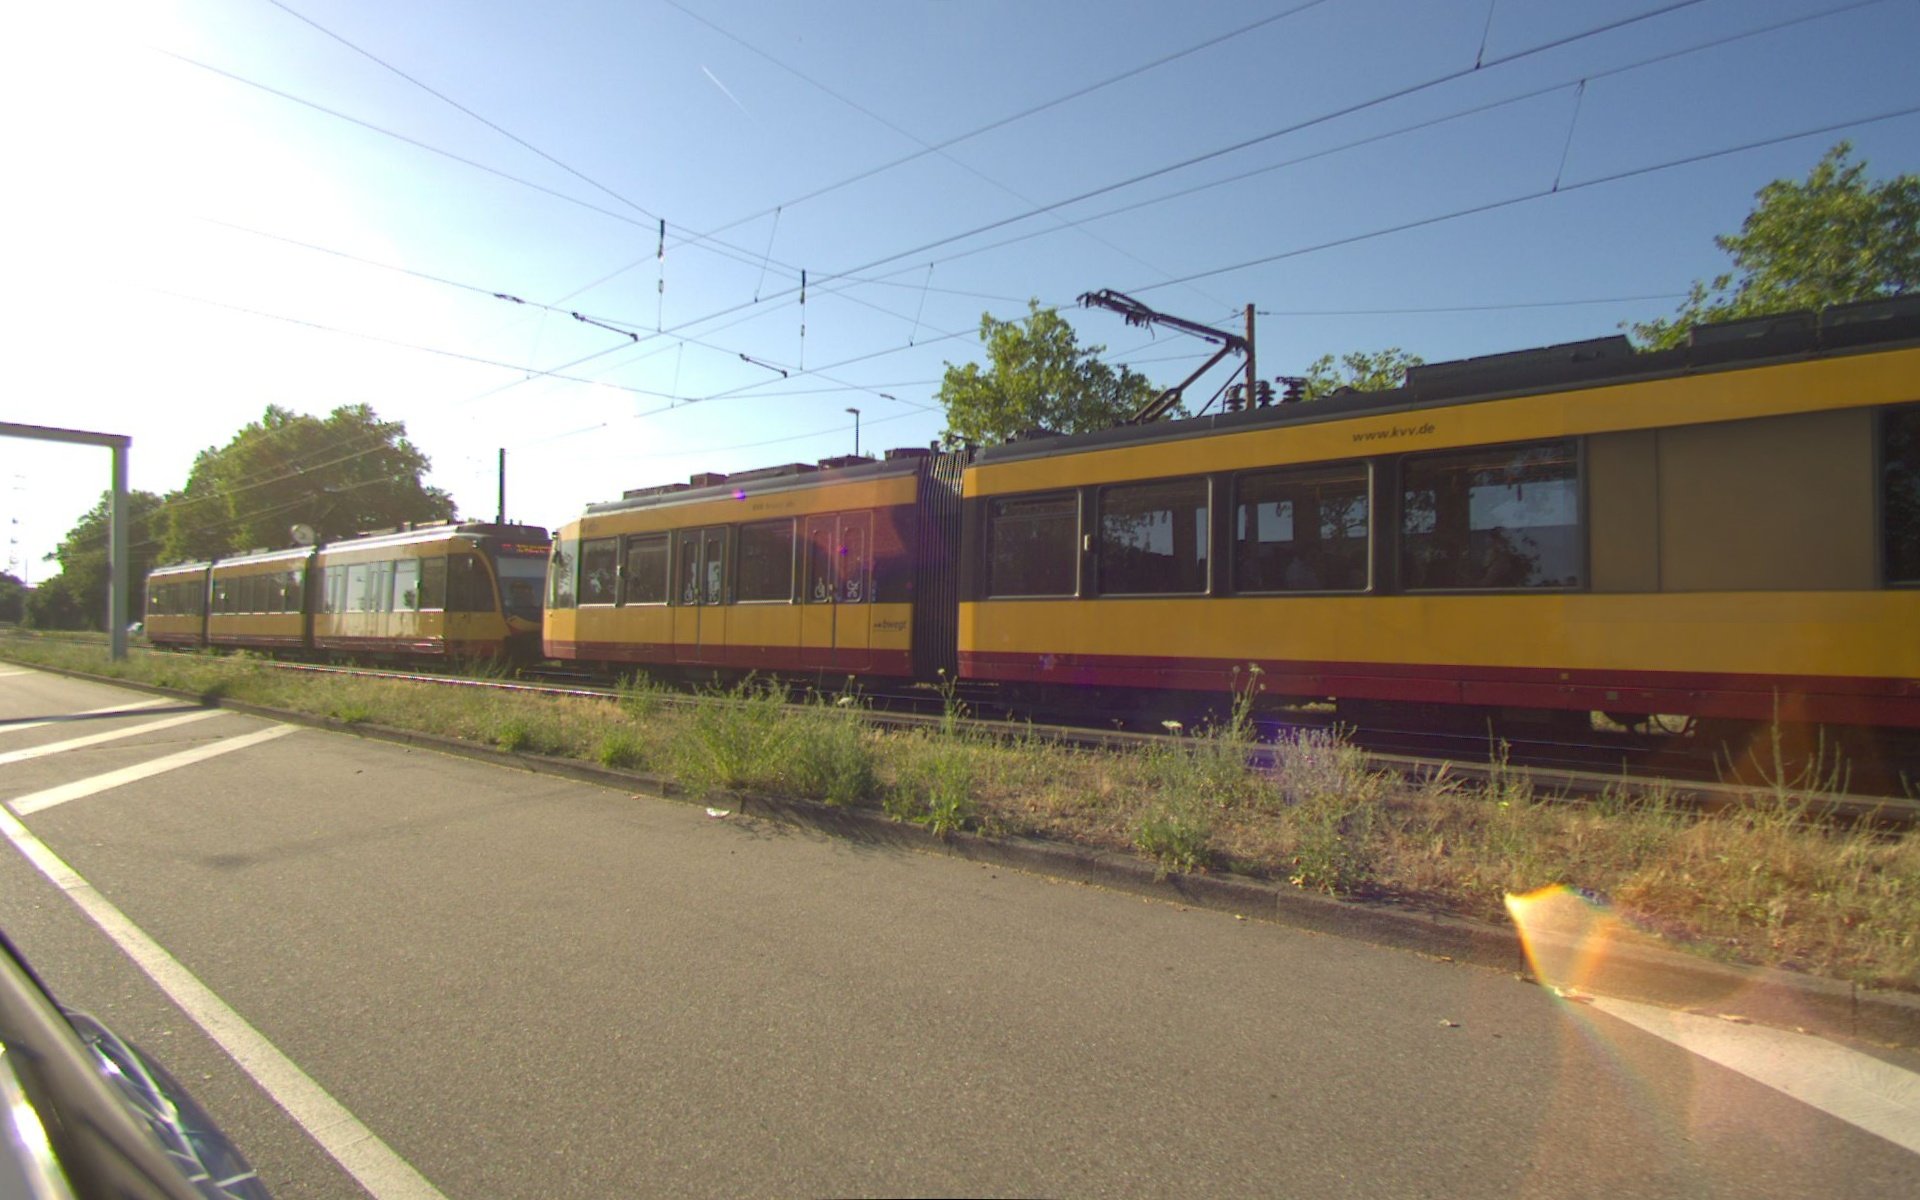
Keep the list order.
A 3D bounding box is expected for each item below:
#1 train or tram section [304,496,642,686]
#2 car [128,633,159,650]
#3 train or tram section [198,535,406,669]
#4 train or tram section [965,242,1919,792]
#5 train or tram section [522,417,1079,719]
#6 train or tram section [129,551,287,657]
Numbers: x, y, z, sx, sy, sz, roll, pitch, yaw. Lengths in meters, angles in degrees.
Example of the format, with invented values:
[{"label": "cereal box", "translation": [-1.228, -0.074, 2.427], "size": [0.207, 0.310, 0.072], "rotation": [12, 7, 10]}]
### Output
[{"label": "train or tram section", "translation": [-13.453, -0.053, 26.791], "size": [13.651, 3.977, 2.854], "rotation": [-1, -2, 41]}, {"label": "car", "translation": [-79.085, 3.994, 98.015], "size": [3.998, 1.528, 1.740], "rotation": [-1, 0, 41]}, {"label": "train or tram section", "translation": [-23.136, 0.181, 35.151], "size": [11.905, 3.977, 2.854], "rotation": [-1, -2, 41]}, {"label": "train or tram section", "translation": [5.285, -0.524, 10.612], "size": [11.333, 3.977, 2.854], "rotation": [-1, -2, 41]}, {"label": "train or tram section", "translation": [-3.684, -0.294, 18.358], "size": [12.104, 3.977, 2.854], "rotation": [-1, -2, 41]}, {"label": "train or tram section", "translation": [-32.064, 0.281, 42.873], "size": [11.658, 3.977, 2.854], "rotation": [-1, -2, 41]}]
